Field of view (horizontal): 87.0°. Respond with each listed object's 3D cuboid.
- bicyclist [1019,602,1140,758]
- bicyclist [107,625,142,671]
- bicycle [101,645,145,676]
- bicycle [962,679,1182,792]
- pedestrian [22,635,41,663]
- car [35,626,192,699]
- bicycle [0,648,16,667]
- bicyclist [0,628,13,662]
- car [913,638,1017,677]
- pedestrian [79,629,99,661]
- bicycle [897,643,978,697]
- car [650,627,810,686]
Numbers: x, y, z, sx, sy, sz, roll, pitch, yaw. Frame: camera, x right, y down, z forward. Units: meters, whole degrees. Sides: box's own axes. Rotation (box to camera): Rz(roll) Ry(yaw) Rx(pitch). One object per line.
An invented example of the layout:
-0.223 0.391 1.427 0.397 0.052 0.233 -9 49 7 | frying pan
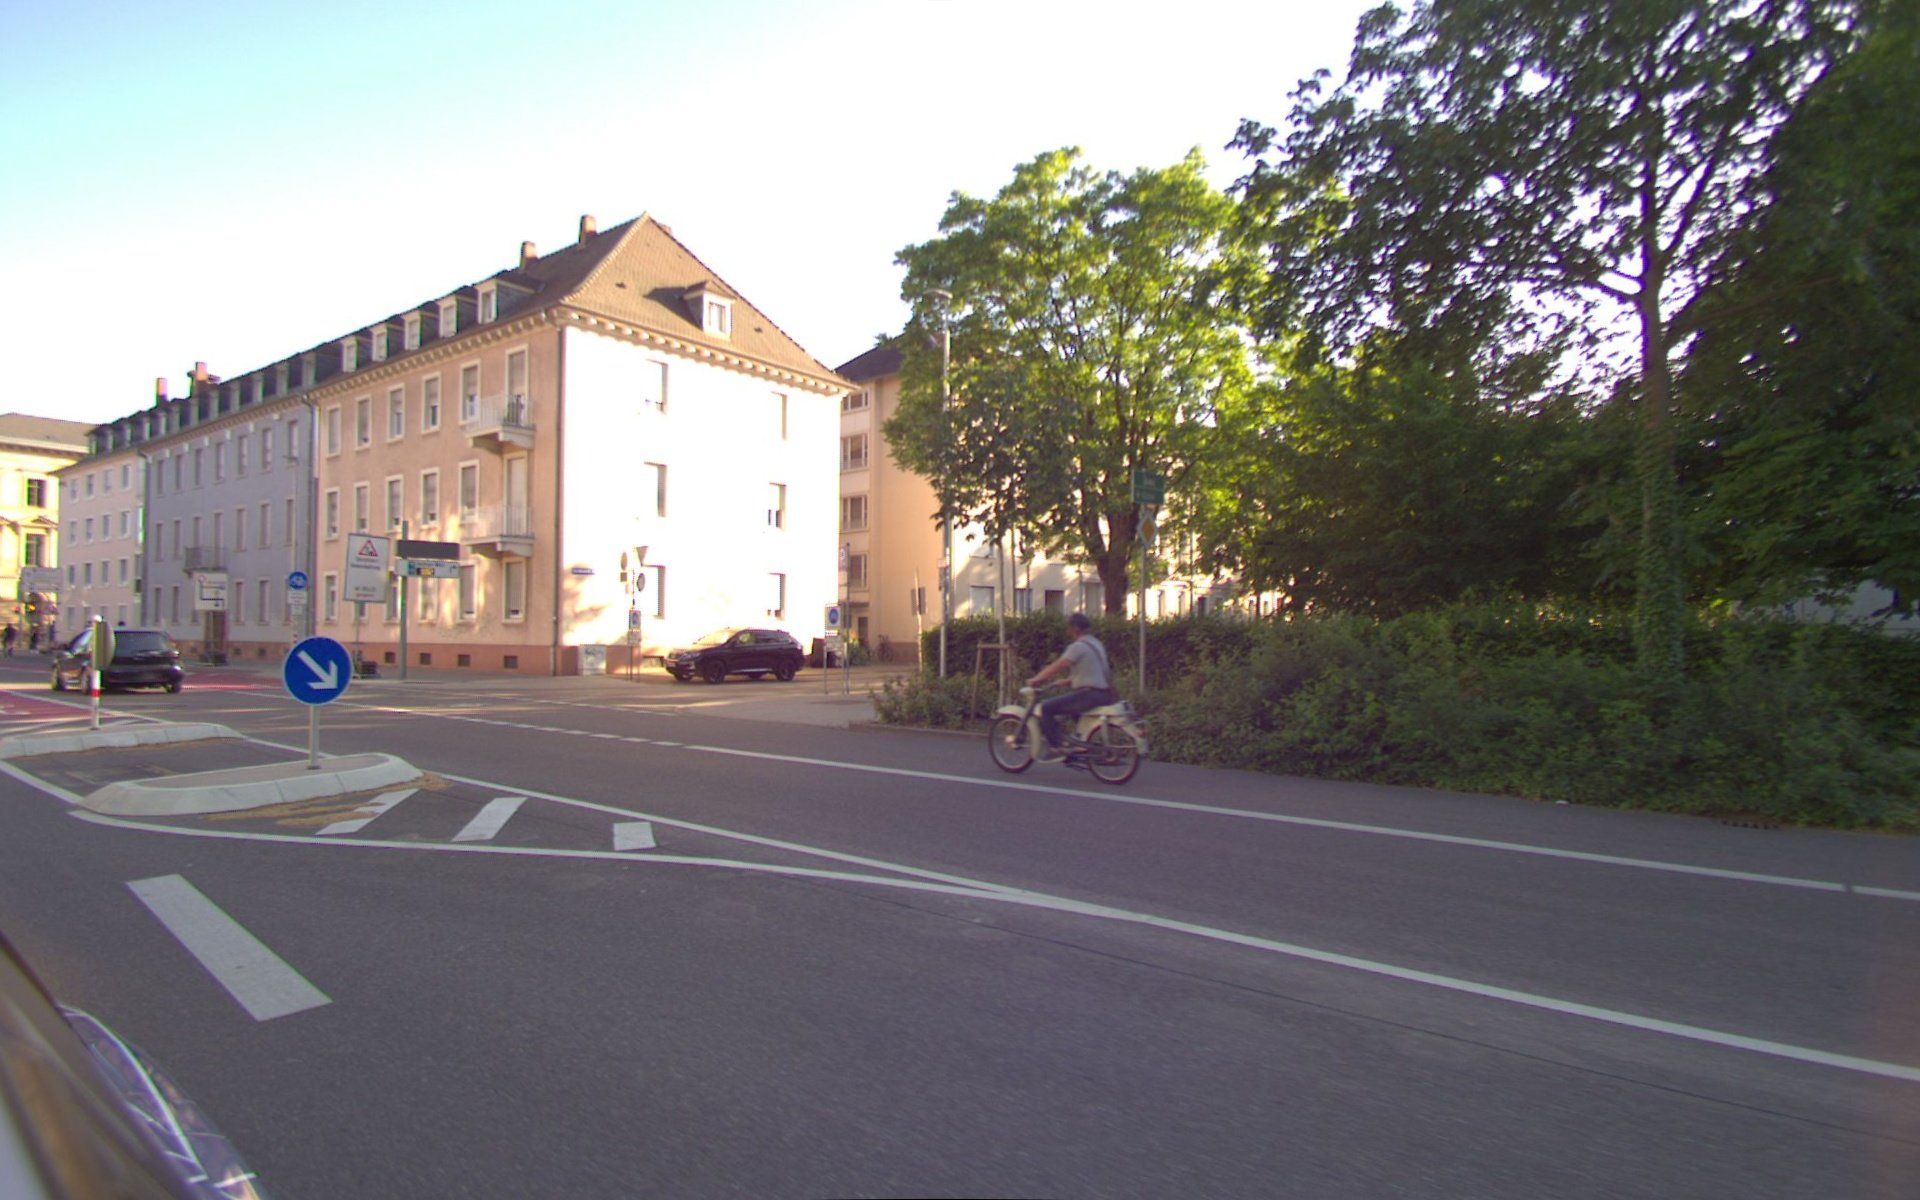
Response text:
1.163 0.771 9.853 0.970 1.429 0.639 -2 -6 40 | bicyclist
-27.959 1.602 33.873 0.664 1.497 0.650 -2 -6 37 | bicyclist
-28.014 2.005 33.861 2.106 1.003 0.645 -2 -4 37 | bicycle
1.045 1.268 9.883 2.178 0.928 0.610 -2 -3 40 | bicycle
-54.313 2.879 59.216 0.816 1.595 0.626 -1 0 34 | pedestrian
-18.567 1.327 22.156 3.993 1.470 1.742 -2 -3 37 | car
-49.525 2.955 52.178 2.101 1.003 0.641 -1 -4 31 | bicycle
-49.524 2.334 52.243 0.736 1.723 0.631 -1 -6 31 | bicyclist
0.264 2.254 40.156 1.956 1.431 4.144 -2 -3 40 | car
-50.811 2.607 59.021 1.011 1.860 0.626 -1 0 35 | pedestrian
-0.519 1.658 24.384 0.560 1.239 2.295 -2 -3 41 | bicycle
-7.130 1.752 31.723 2.060 1.691 4.524 -2 -4 43 | car
